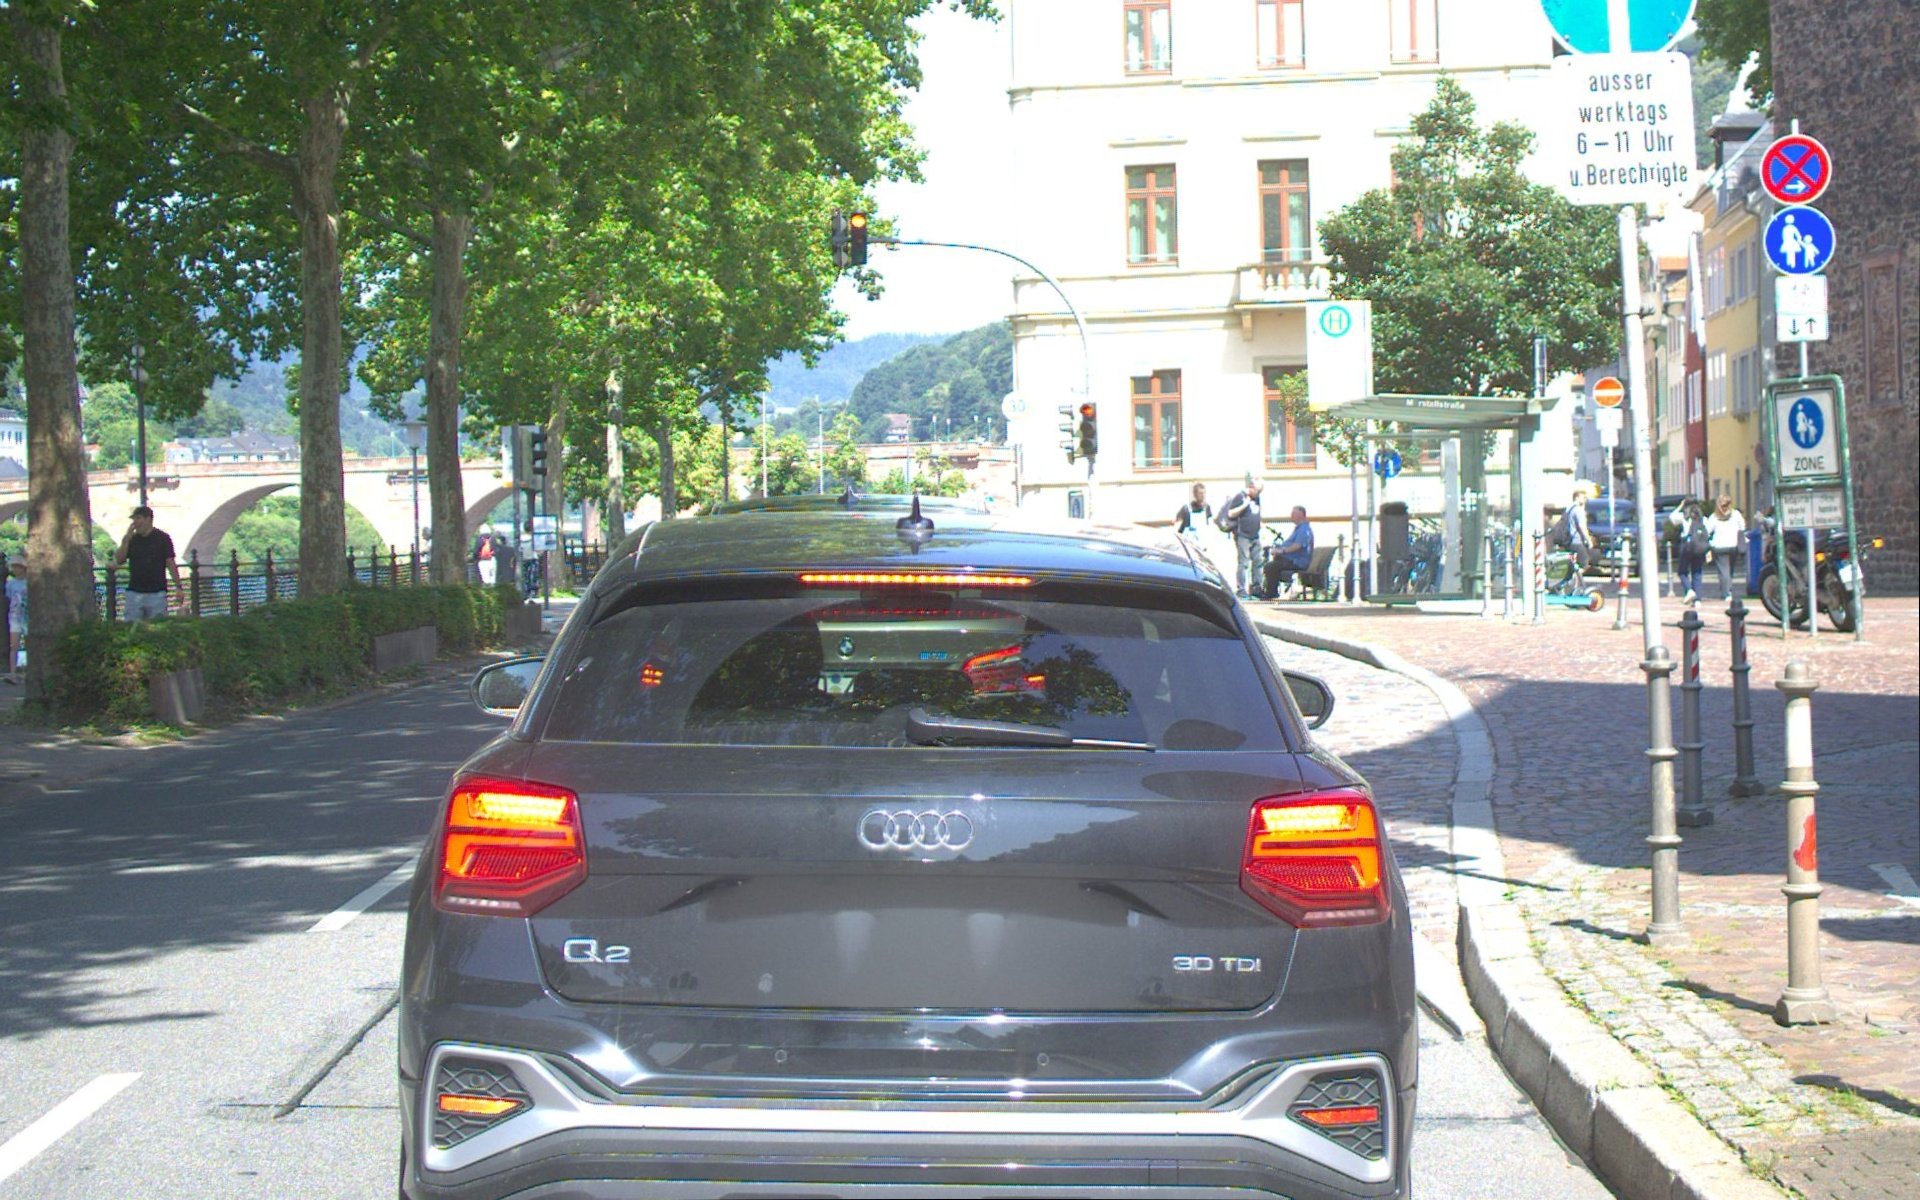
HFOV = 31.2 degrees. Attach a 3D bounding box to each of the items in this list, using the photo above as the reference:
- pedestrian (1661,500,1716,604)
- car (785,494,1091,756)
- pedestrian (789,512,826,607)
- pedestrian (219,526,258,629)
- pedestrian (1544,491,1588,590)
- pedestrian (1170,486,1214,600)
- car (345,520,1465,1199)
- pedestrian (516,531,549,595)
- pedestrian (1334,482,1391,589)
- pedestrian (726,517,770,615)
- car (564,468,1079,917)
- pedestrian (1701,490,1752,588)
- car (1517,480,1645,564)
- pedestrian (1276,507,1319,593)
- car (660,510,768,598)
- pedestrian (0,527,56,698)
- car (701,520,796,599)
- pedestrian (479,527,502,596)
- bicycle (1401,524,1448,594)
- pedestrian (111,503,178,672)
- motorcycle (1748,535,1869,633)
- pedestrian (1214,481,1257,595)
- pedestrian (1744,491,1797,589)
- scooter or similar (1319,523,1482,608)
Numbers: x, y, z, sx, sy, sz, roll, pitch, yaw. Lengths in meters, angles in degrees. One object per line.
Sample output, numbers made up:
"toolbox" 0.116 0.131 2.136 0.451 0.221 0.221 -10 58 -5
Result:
"pedestrian" 10.532 -0.692 49.717 0.658 1.488 0.548 1 1 1
"car" -0.143 0.108 22.703 1.801 1.518 3.716 -2 1 0
"pedestrian" -2.507 -0.665 56.484 0.557 1.552 0.660 0 1 1
"pedestrian" -10.867 -0.344 51.793 0.497 1.532 0.680 1 1 -7
"pedestrian" 10.003 -0.981 56.768 0.546 1.629 0.660 1 1 -3
"pedestrian" 3.192 -0.788 47.390 0.557 1.552 0.660 0 1 1
"car" -0.141 0.587 7.217 1.748 1.489 3.629 1 1 -2
"pedestrian" -8.638 -0.744 69.427 0.591 1.274 0.525 1 1 0
"pedestrian" 5.848 -0.936 49.970 0.747 1.552 0.588 0 1 1
"pedestrian" -3.494 -0.561 56.620 0.546 1.595 0.660 1 1 11
"car" -0.500 0.295 14.027 1.801 1.557 3.716 1 1 0
"pedestrian" 11.911 -0.947 53.447 0.658 1.512 0.548 1 1 1
"car" 13.220 -1.668 73.400 1.993 1.710 4.000 -1 1 0
"pedestrian" 4.783 -0.711 48.769 0.546 1.197 0.522 1 1 1
"car" -4.482 -0.861 63.005 1.615 1.518 3.476 -2 1 1
"pedestrian" -9.571 0.115 34.868 0.645 1.711 0.665 1 1 -3
"car" -4.317 -0.848 70.505 1.615 1.518 3.476 -2 1 1
"pedestrian" -9.817 -0.806 71.864 0.409 1.420 0.457 1 1 -2
"bicycle" 6.524 -0.578 48.336 0.450 0.971 1.400 1 1 0
"pedestrian" -8.449 -0.131 35.647 0.563 1.735 0.665 0 1 -3
"motorcycle" 7.579 -0.160 30.797 0.483 0.815 2.280 -2 1 0
"pedestrian" 3.966 -0.887 49.425 0.557 1.627 0.660 0 1 1
"pedestrian" 12.617 -0.936 53.519 0.658 1.512 0.627 1 1 1
"scooter or similar" 5.156 -0.410 40.284 1.845 0.960 0.429 1 1 -1
